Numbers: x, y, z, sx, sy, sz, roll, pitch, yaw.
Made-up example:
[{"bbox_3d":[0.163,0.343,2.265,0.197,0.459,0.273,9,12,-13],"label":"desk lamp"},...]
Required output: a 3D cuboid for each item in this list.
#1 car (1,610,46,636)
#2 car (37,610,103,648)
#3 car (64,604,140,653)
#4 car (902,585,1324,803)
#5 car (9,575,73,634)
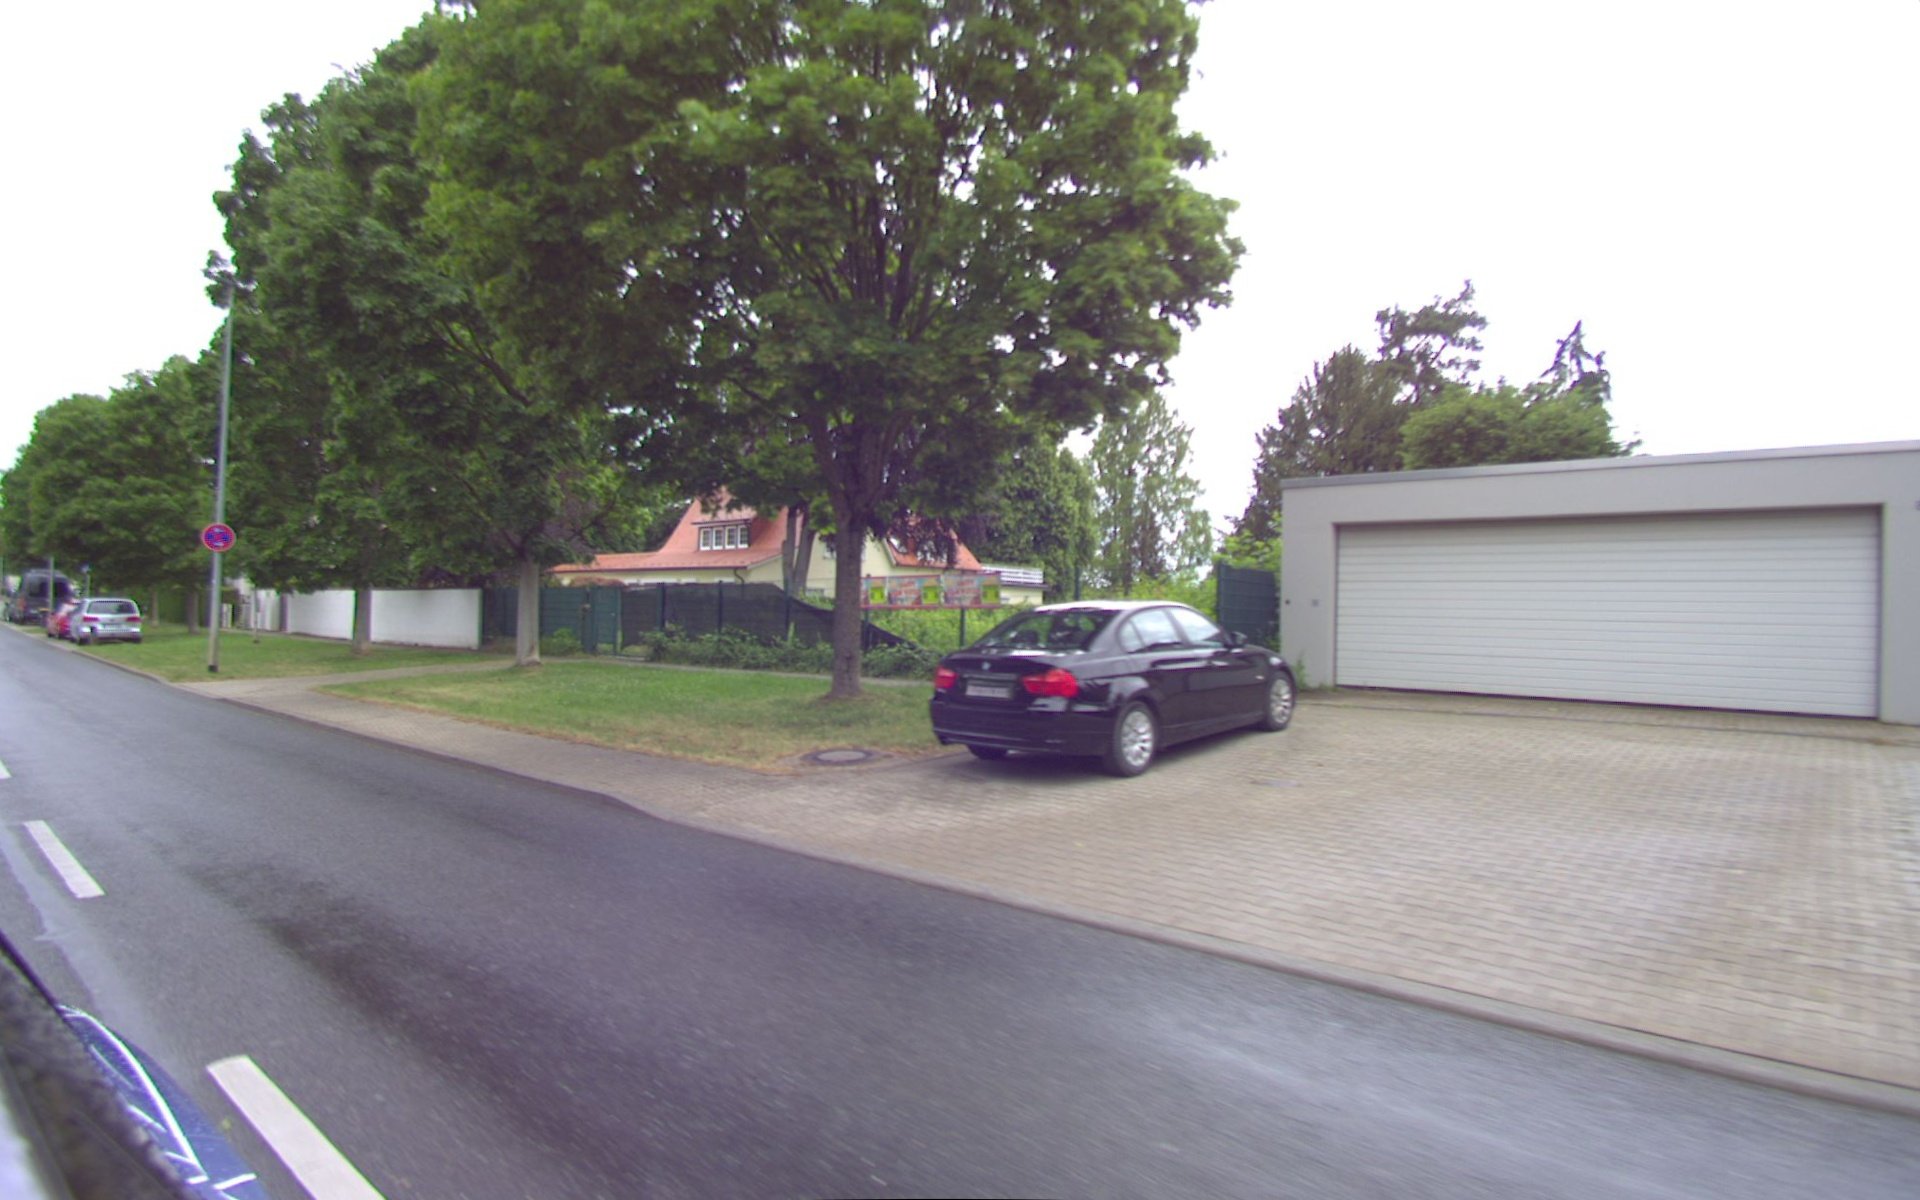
[{"bbox_3d":[-52.423,1.269,56.632,1.682,1.334,3.845,-2,1,-45],"label":"car"},{"bbox_3d":[-34.494,1.093,39.198,1.682,1.334,3.845,-2,1,-44],"label":"car"},{"bbox_3d":[-30.279,0.969,35.694,1.750,1.619,4.003,1,-1,-44],"label":"car"},{"bbox_3d":[1.649,0.665,9.484,1.755,1.428,4.381,-1,2,42],"label":"car"},{"bbox_3d":[-47.120,0.193,51.840,2.216,2.860,5.048,-1,1,-44],"label":"car"}]
